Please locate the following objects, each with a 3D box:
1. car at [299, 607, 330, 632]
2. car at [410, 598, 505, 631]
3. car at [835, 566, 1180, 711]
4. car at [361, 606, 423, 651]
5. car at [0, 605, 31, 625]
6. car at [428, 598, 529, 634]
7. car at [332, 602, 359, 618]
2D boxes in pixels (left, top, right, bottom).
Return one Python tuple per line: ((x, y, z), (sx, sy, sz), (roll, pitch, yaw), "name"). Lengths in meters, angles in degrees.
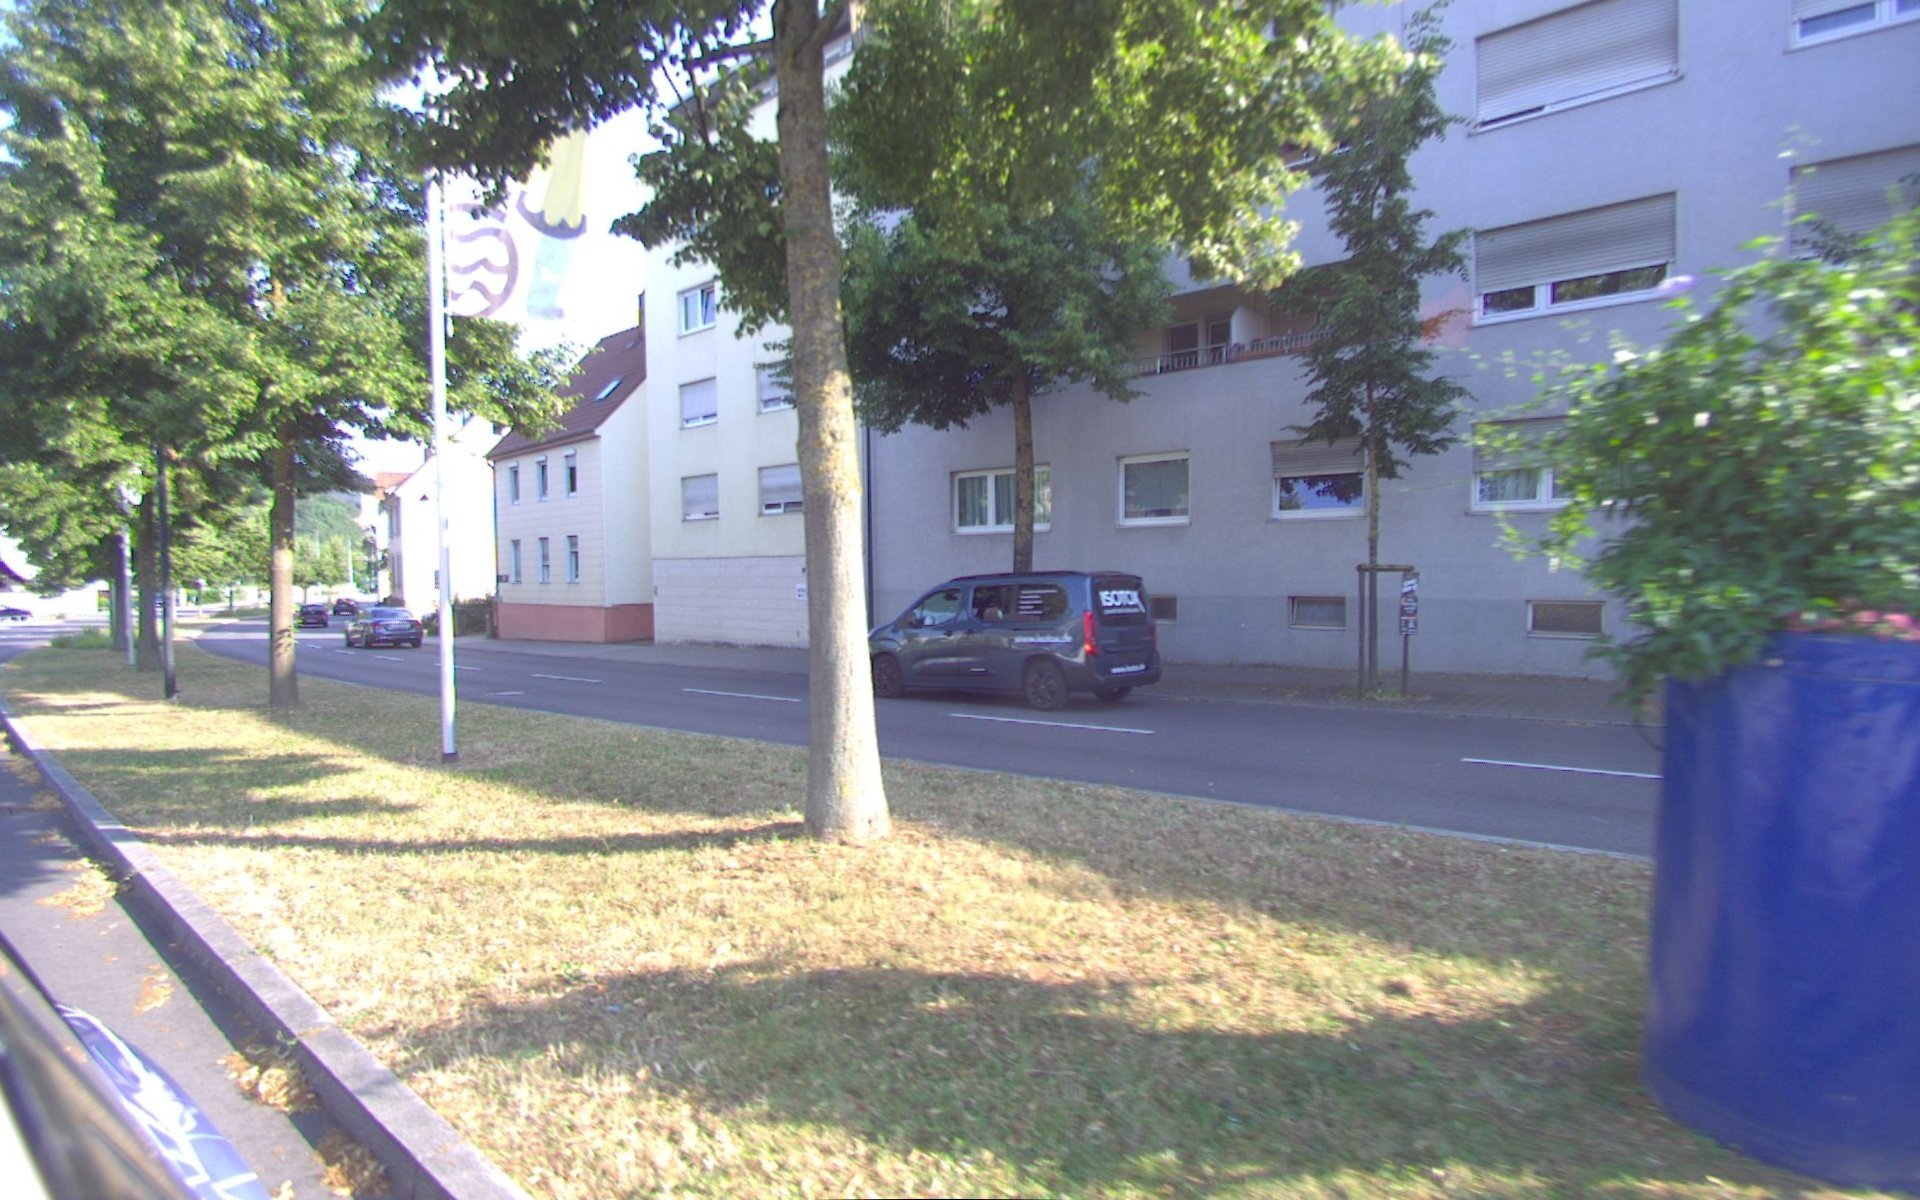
((-40.337, 1.184, 63.269), (1.583, 1.497, 3.795), (0, 0, -32), "car")
((-26.012, 0.737, 52.560), (4.285, 1.497, 2.018), (-2, 1, -24), "car")
((0.522, 0.474, 14.560), (4.921, 1.749, 1.833), (0, 0, 42), "car")
((-20.714, 0.995, 37.060), (1.826, 1.497, 5.012), (0, 0, -28), "car")
((-75.359, 1.219, 79.013), (3.772, 1.430, 1.944), (-2, 1, -27), "car")
((-23.103, 0.740, 48.742), (4.285, 1.497, 1.953), (-2, 1, -23), "car")
((-56.505, 0.908, 93.127), (1.913, 1.497, 4.338), (0, 0, -28), "car")
